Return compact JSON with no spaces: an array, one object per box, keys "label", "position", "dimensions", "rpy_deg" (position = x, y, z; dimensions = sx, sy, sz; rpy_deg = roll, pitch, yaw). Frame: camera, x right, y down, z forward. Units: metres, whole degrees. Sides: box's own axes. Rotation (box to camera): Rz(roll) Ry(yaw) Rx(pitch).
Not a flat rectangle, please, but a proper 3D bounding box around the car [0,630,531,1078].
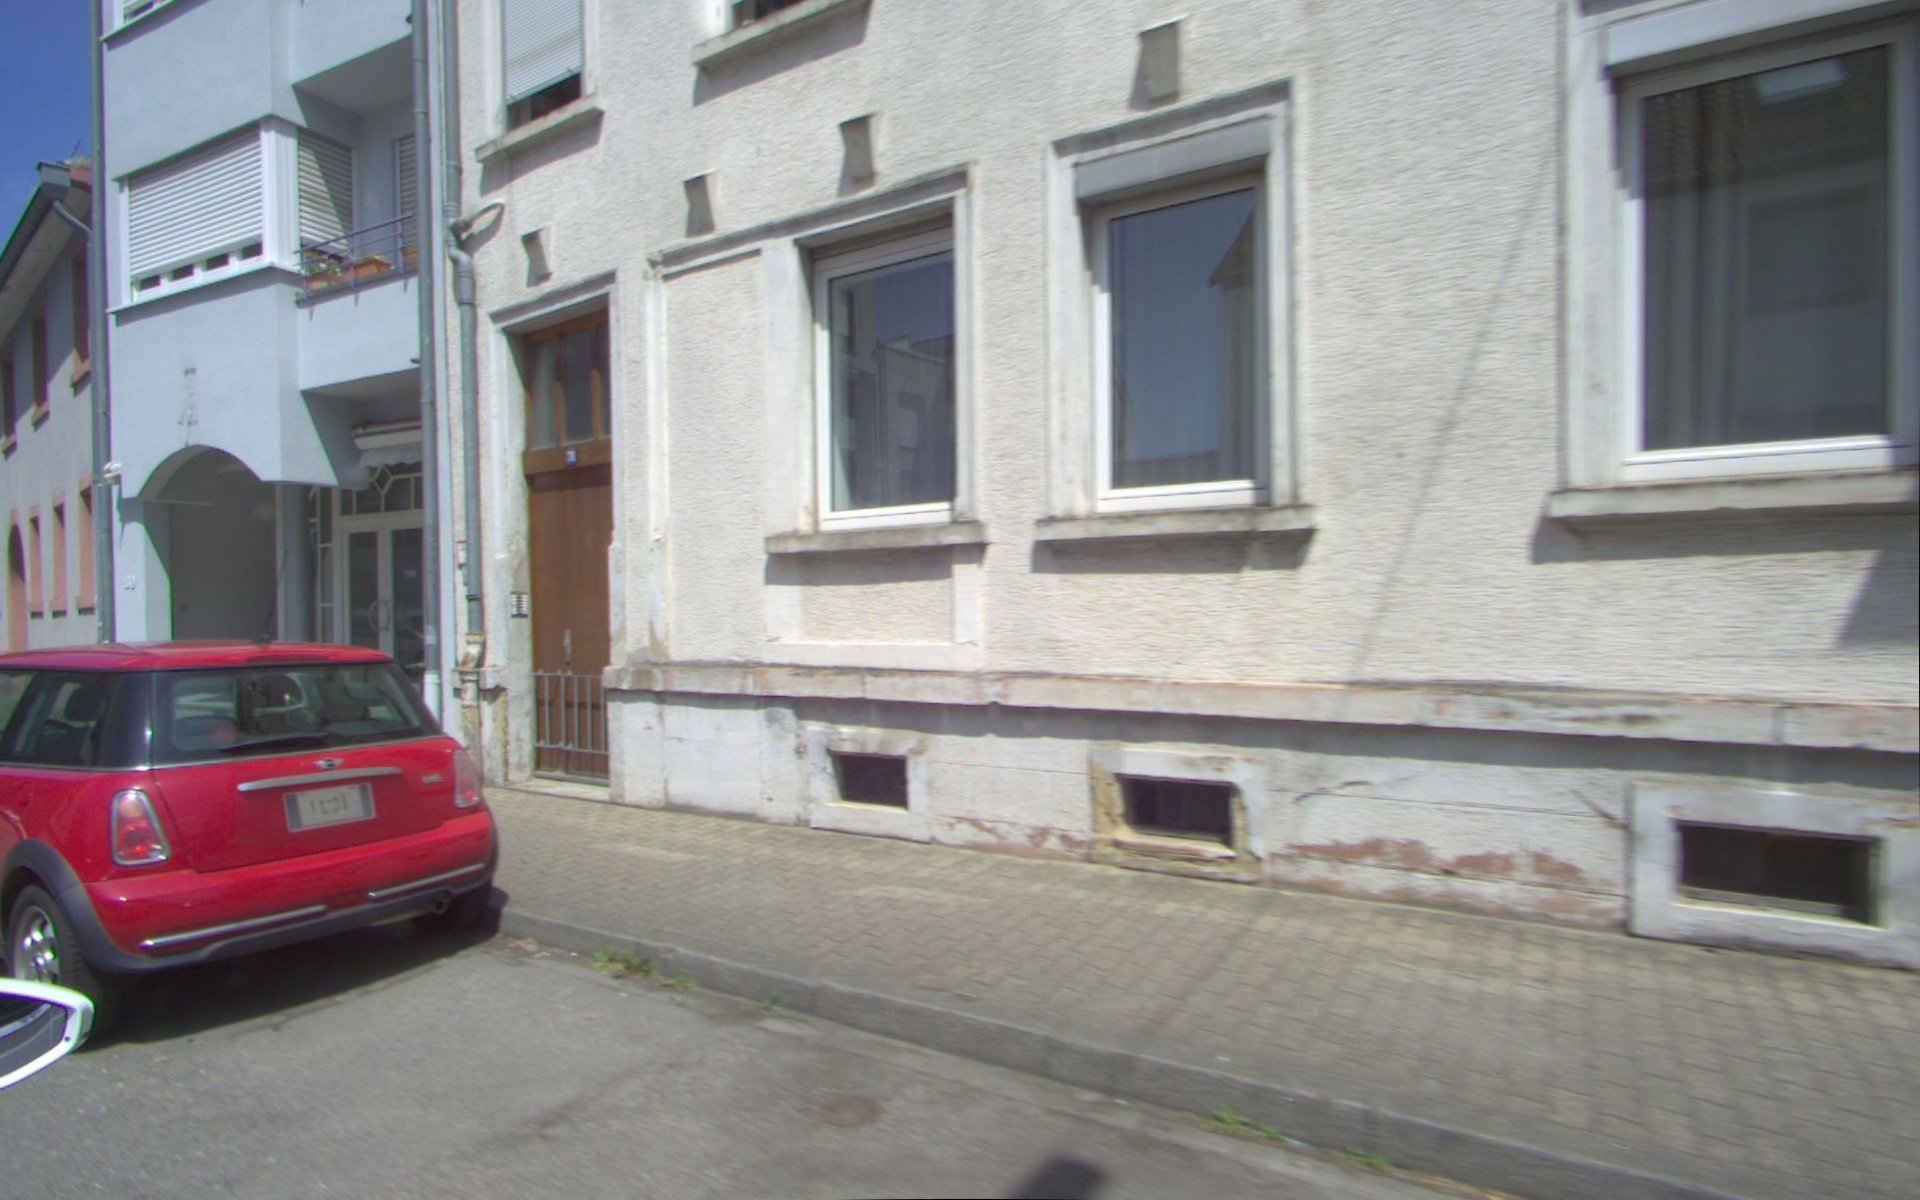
[{"label":"car","position":[-3.894,0.867,4.817],"dimensions":[3.486,1.404,1.616],"rpy_deg":[-1,0,30]}]
